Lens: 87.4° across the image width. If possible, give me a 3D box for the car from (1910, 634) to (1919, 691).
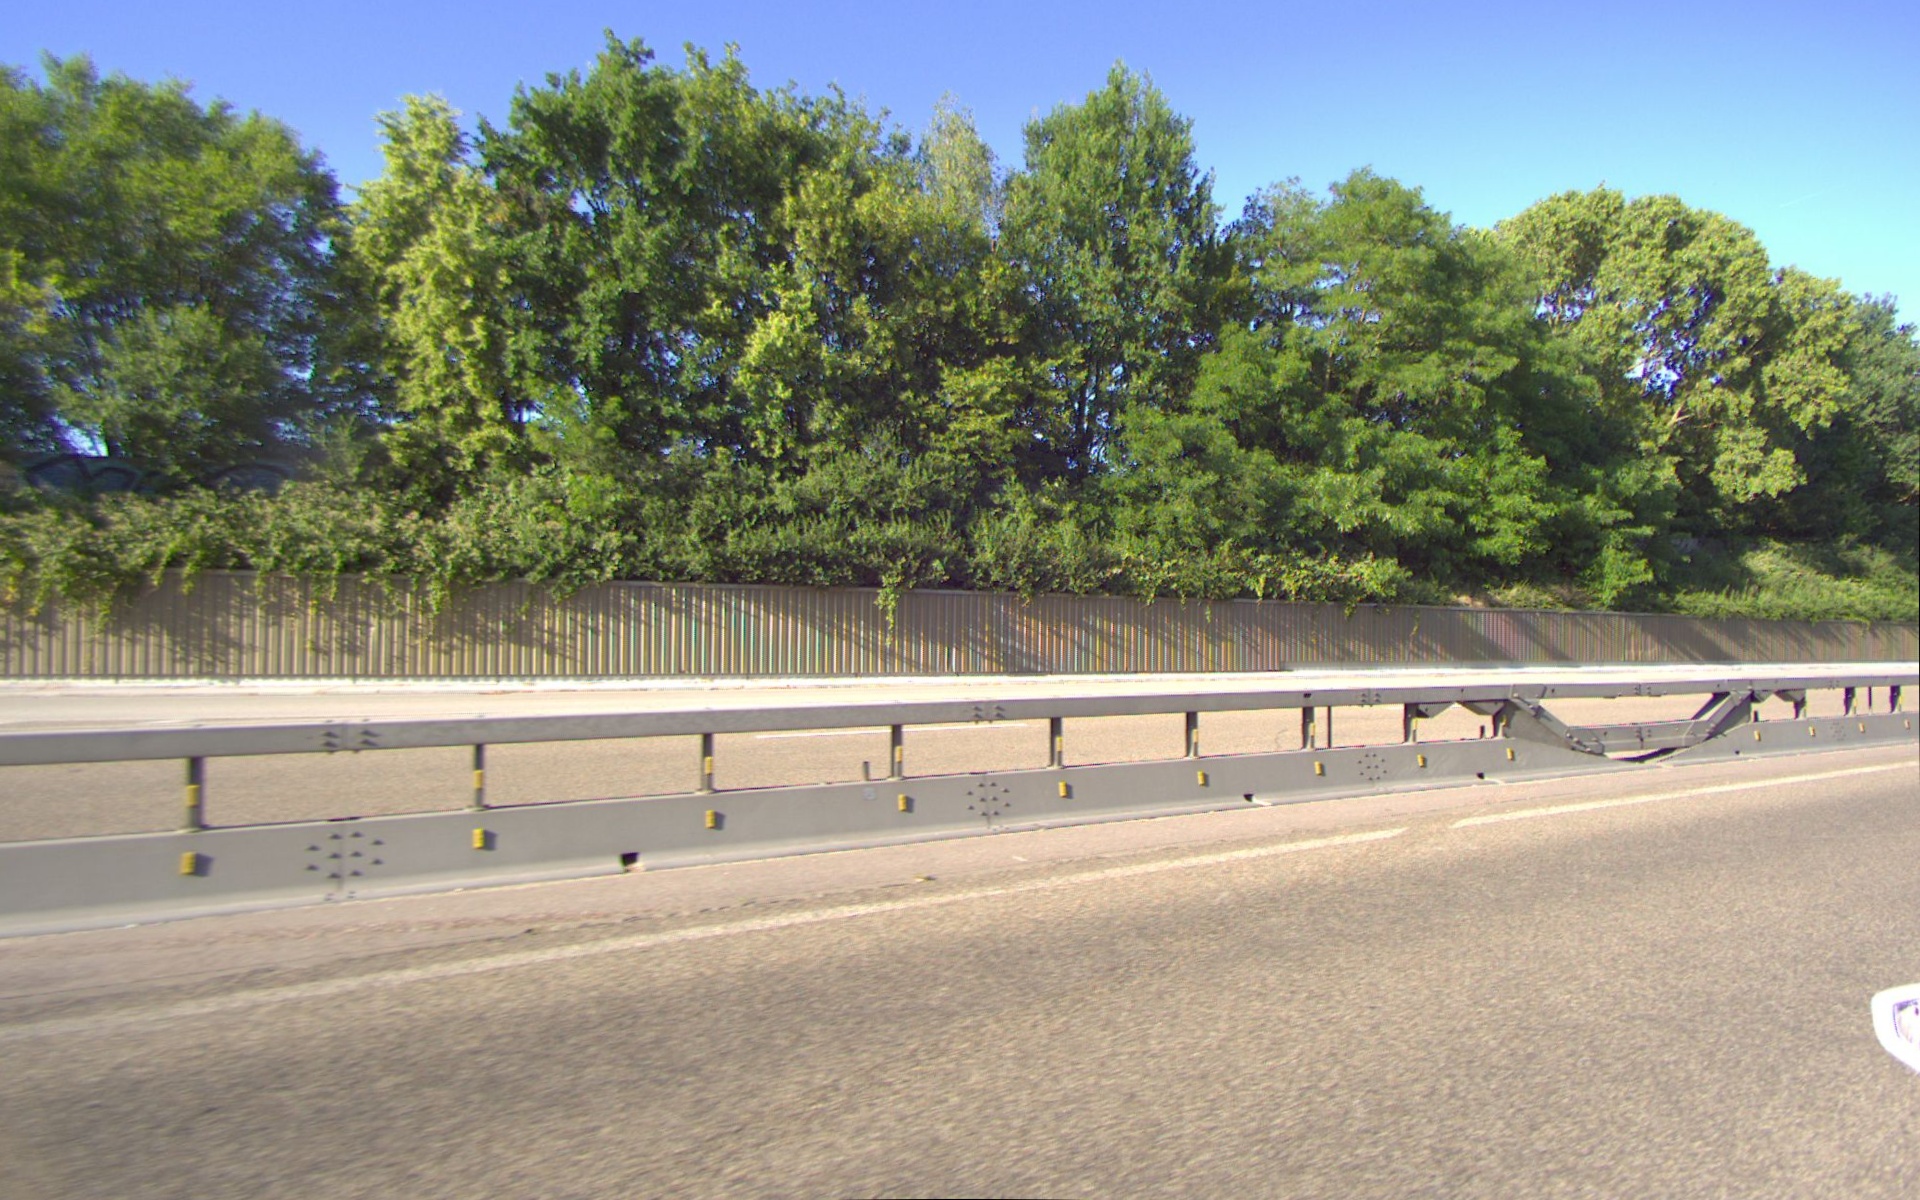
[{"bbox_3d":[27.766,1.678,27.032,4.146,1.506,1.986,0,0,-28],"label":"car"}]
